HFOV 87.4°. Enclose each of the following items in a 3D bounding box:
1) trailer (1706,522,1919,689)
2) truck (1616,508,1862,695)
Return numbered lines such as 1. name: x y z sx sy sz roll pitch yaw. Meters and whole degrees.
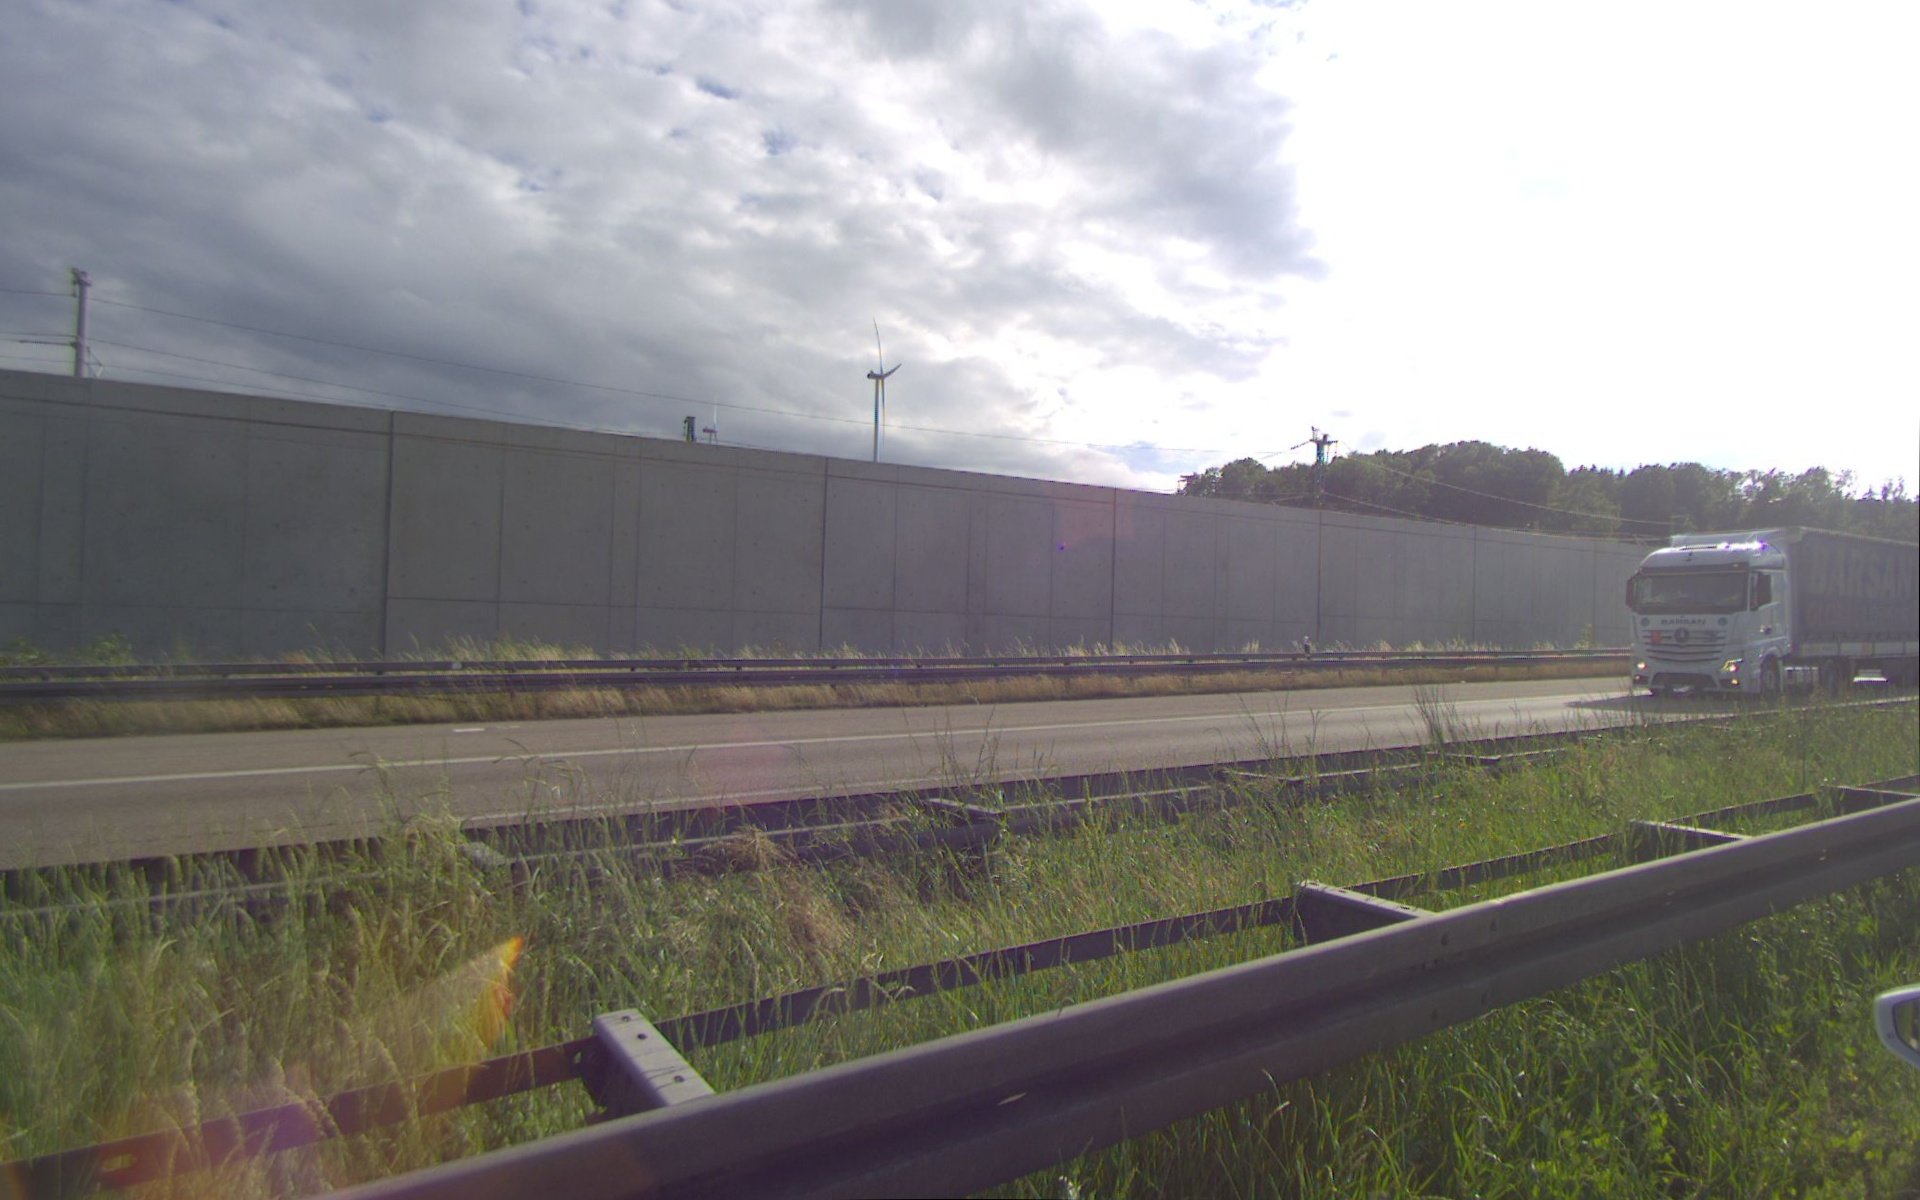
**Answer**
1. trailer: 26.017 0.282 29.323 12.264 4.135 2.638 2 0 -33
2. truck: 19.643 0.118 25.213 6.926 4.152 2.623 2 0 -32
